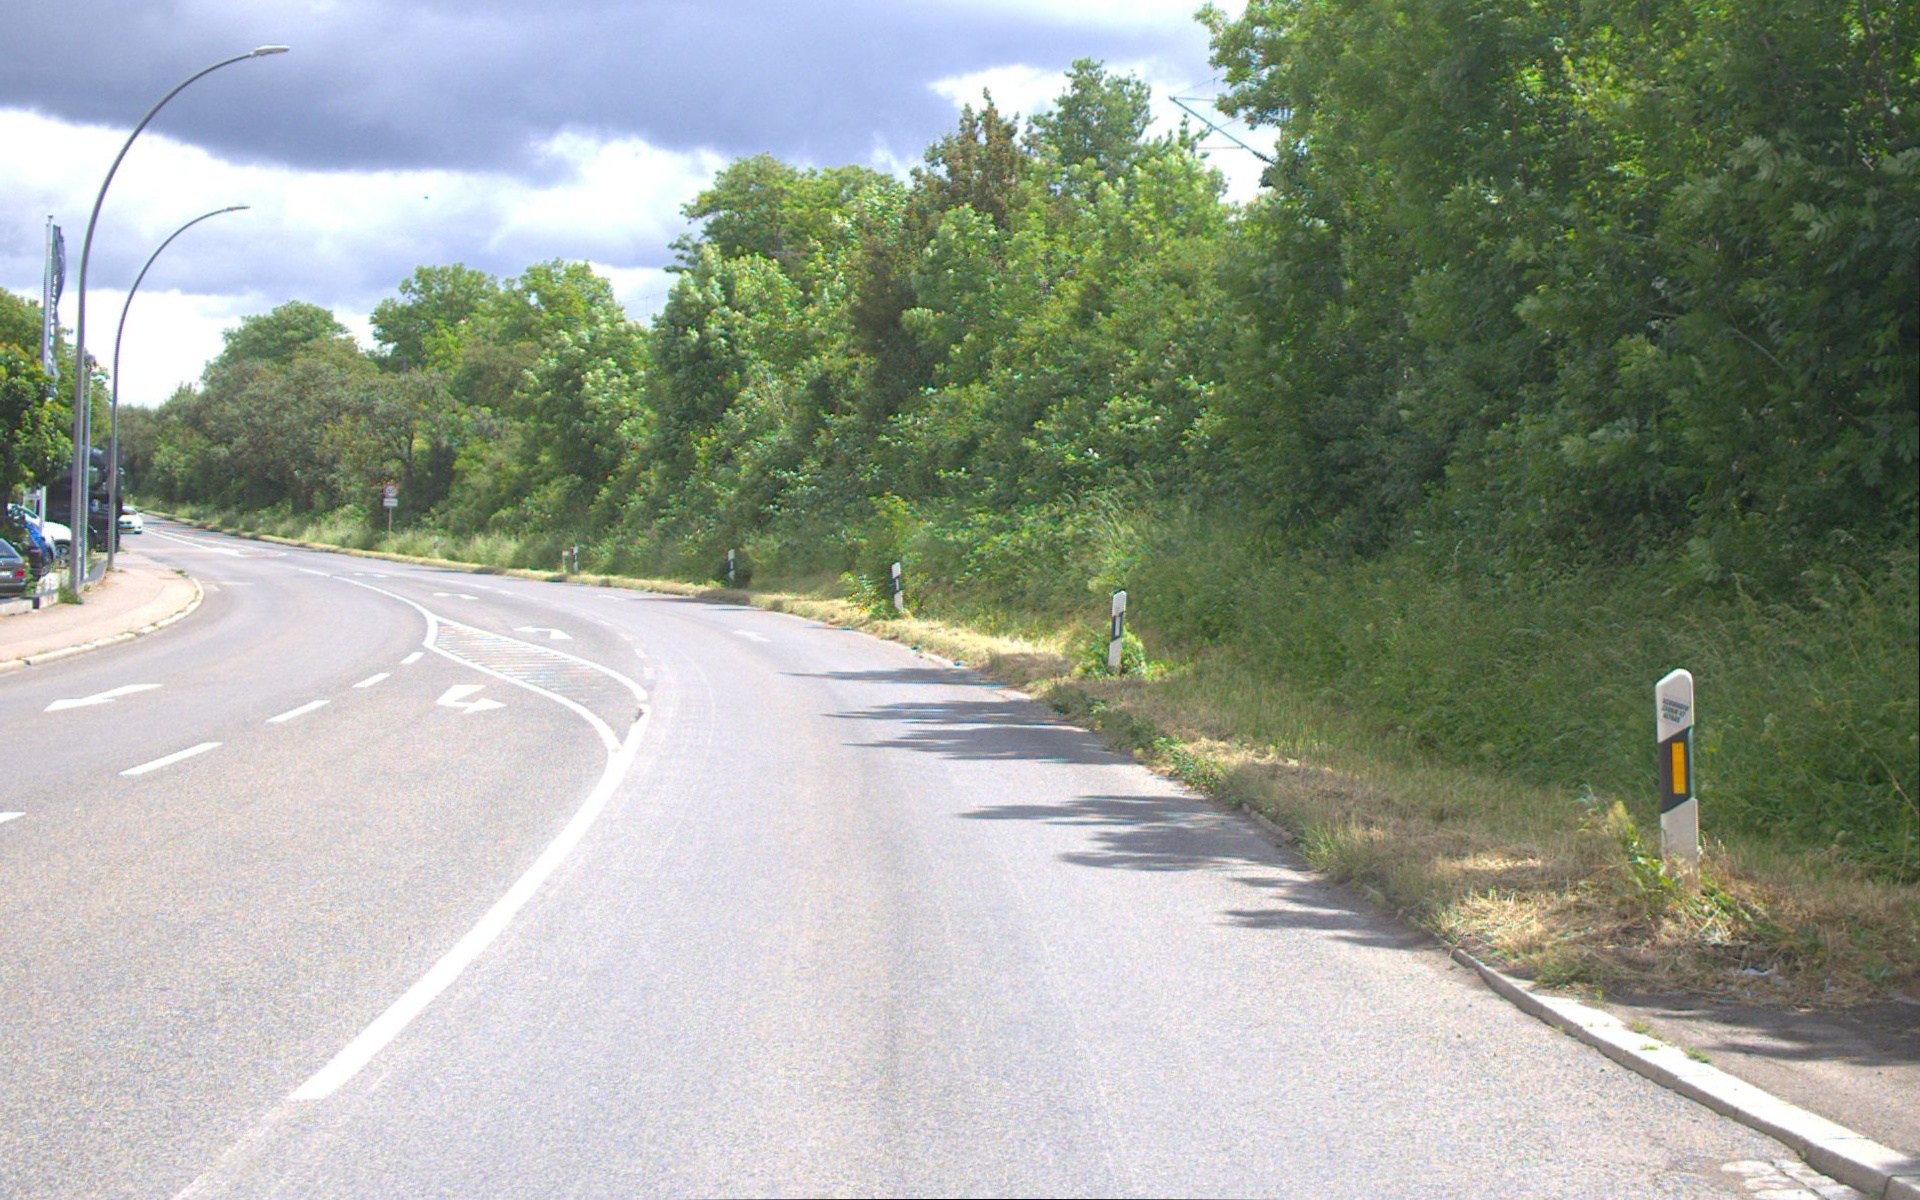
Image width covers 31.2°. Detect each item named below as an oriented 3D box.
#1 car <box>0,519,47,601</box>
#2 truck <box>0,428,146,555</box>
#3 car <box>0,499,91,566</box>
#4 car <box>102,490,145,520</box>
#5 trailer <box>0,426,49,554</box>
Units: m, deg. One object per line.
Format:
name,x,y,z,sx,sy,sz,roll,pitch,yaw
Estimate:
car,-19.177,-0.809,63.512,4.196,1.474,1.793,2,1,22
truck,-29.957,-3.545,112.166,6.117,4.079,2.826,-1,2,-27
car,-26.351,-1.904,94.504,4.303,1.757,1.999,1,1,-44
car,-44.560,-5.049,183.126,1.993,1.532,4.001,2,1,-16
trailer,-34.343,-3.530,109.836,9.721,4.079,2.826,-1,2,-28
